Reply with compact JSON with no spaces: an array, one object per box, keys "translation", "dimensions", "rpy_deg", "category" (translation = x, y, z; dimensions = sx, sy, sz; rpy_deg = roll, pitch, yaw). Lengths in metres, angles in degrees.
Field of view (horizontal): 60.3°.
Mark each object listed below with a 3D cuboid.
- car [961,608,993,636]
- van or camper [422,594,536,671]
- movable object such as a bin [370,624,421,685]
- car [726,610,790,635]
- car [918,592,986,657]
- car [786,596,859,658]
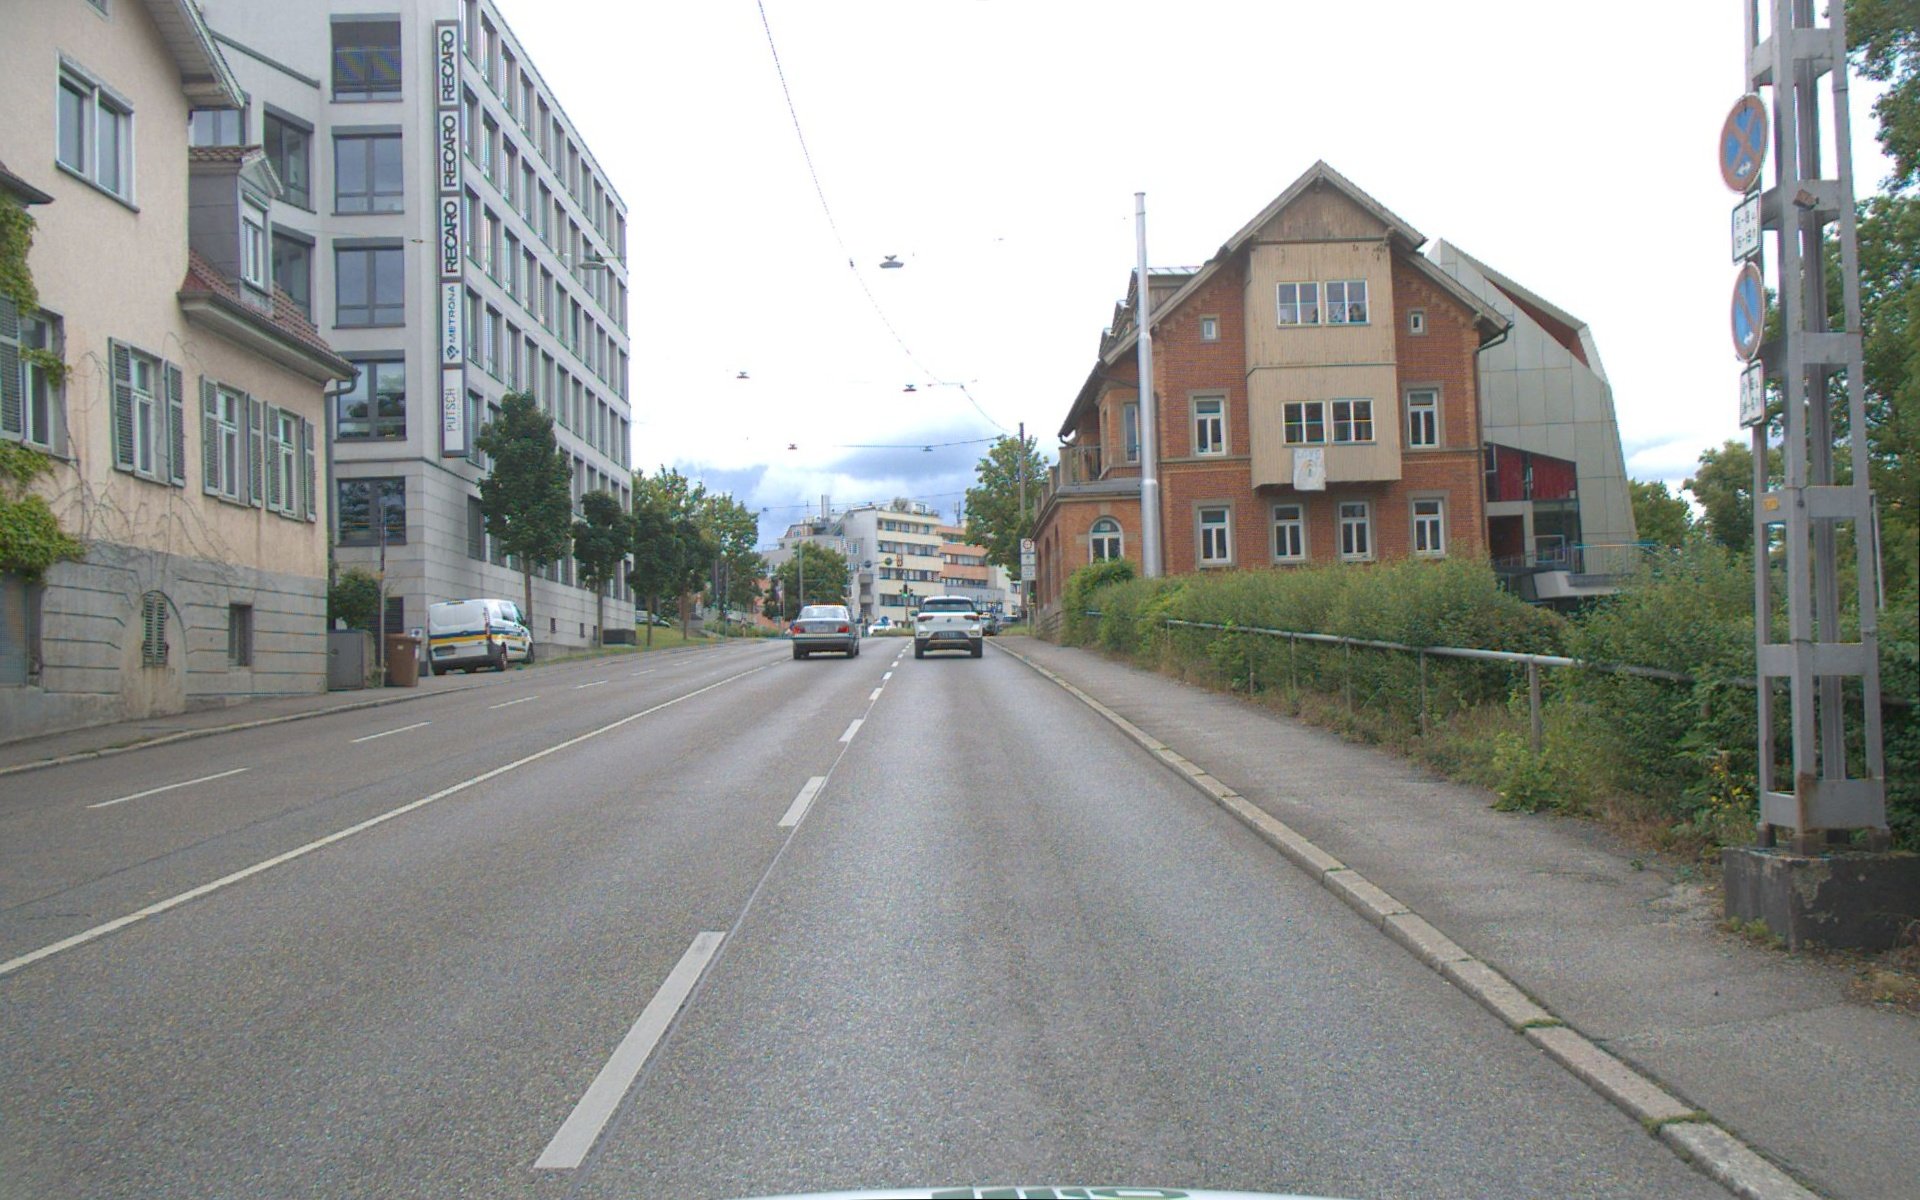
[{"translation":[1.057,1.327,101.429],"dimensions":[1.733,1.598,4.287],"rpy_deg":[-2,0,4],"category":"car"},{"translation":[-13.543,0.871,46.830],"dimensions":[2.019,2.002,4.869],"rpy_deg":[-2,0,-4],"category":"van or camper"},{"translation":[-11.522,1.106,33.770],"dimensions":[0.795,1.210,0.697],"rpy_deg":[2,-1,-7],"category":"movable object such as a bin"},{"translation":[-13.140,1.470,107.802],"dimensions":[1.750,1.571,3.974],"rpy_deg":[-2,-2,43],"category":"car"},{"translation":[-0.222,0.598,43.111],"dimensions":[1.665,1.575,3.735],"rpy_deg":[1,0,-1],"category":"car"},{"translation":[-3.604,0.680,43.860],"dimensions":[1.665,1.542,3.735],"rpy_deg":[-2,0,-1],"category":"car"}]
